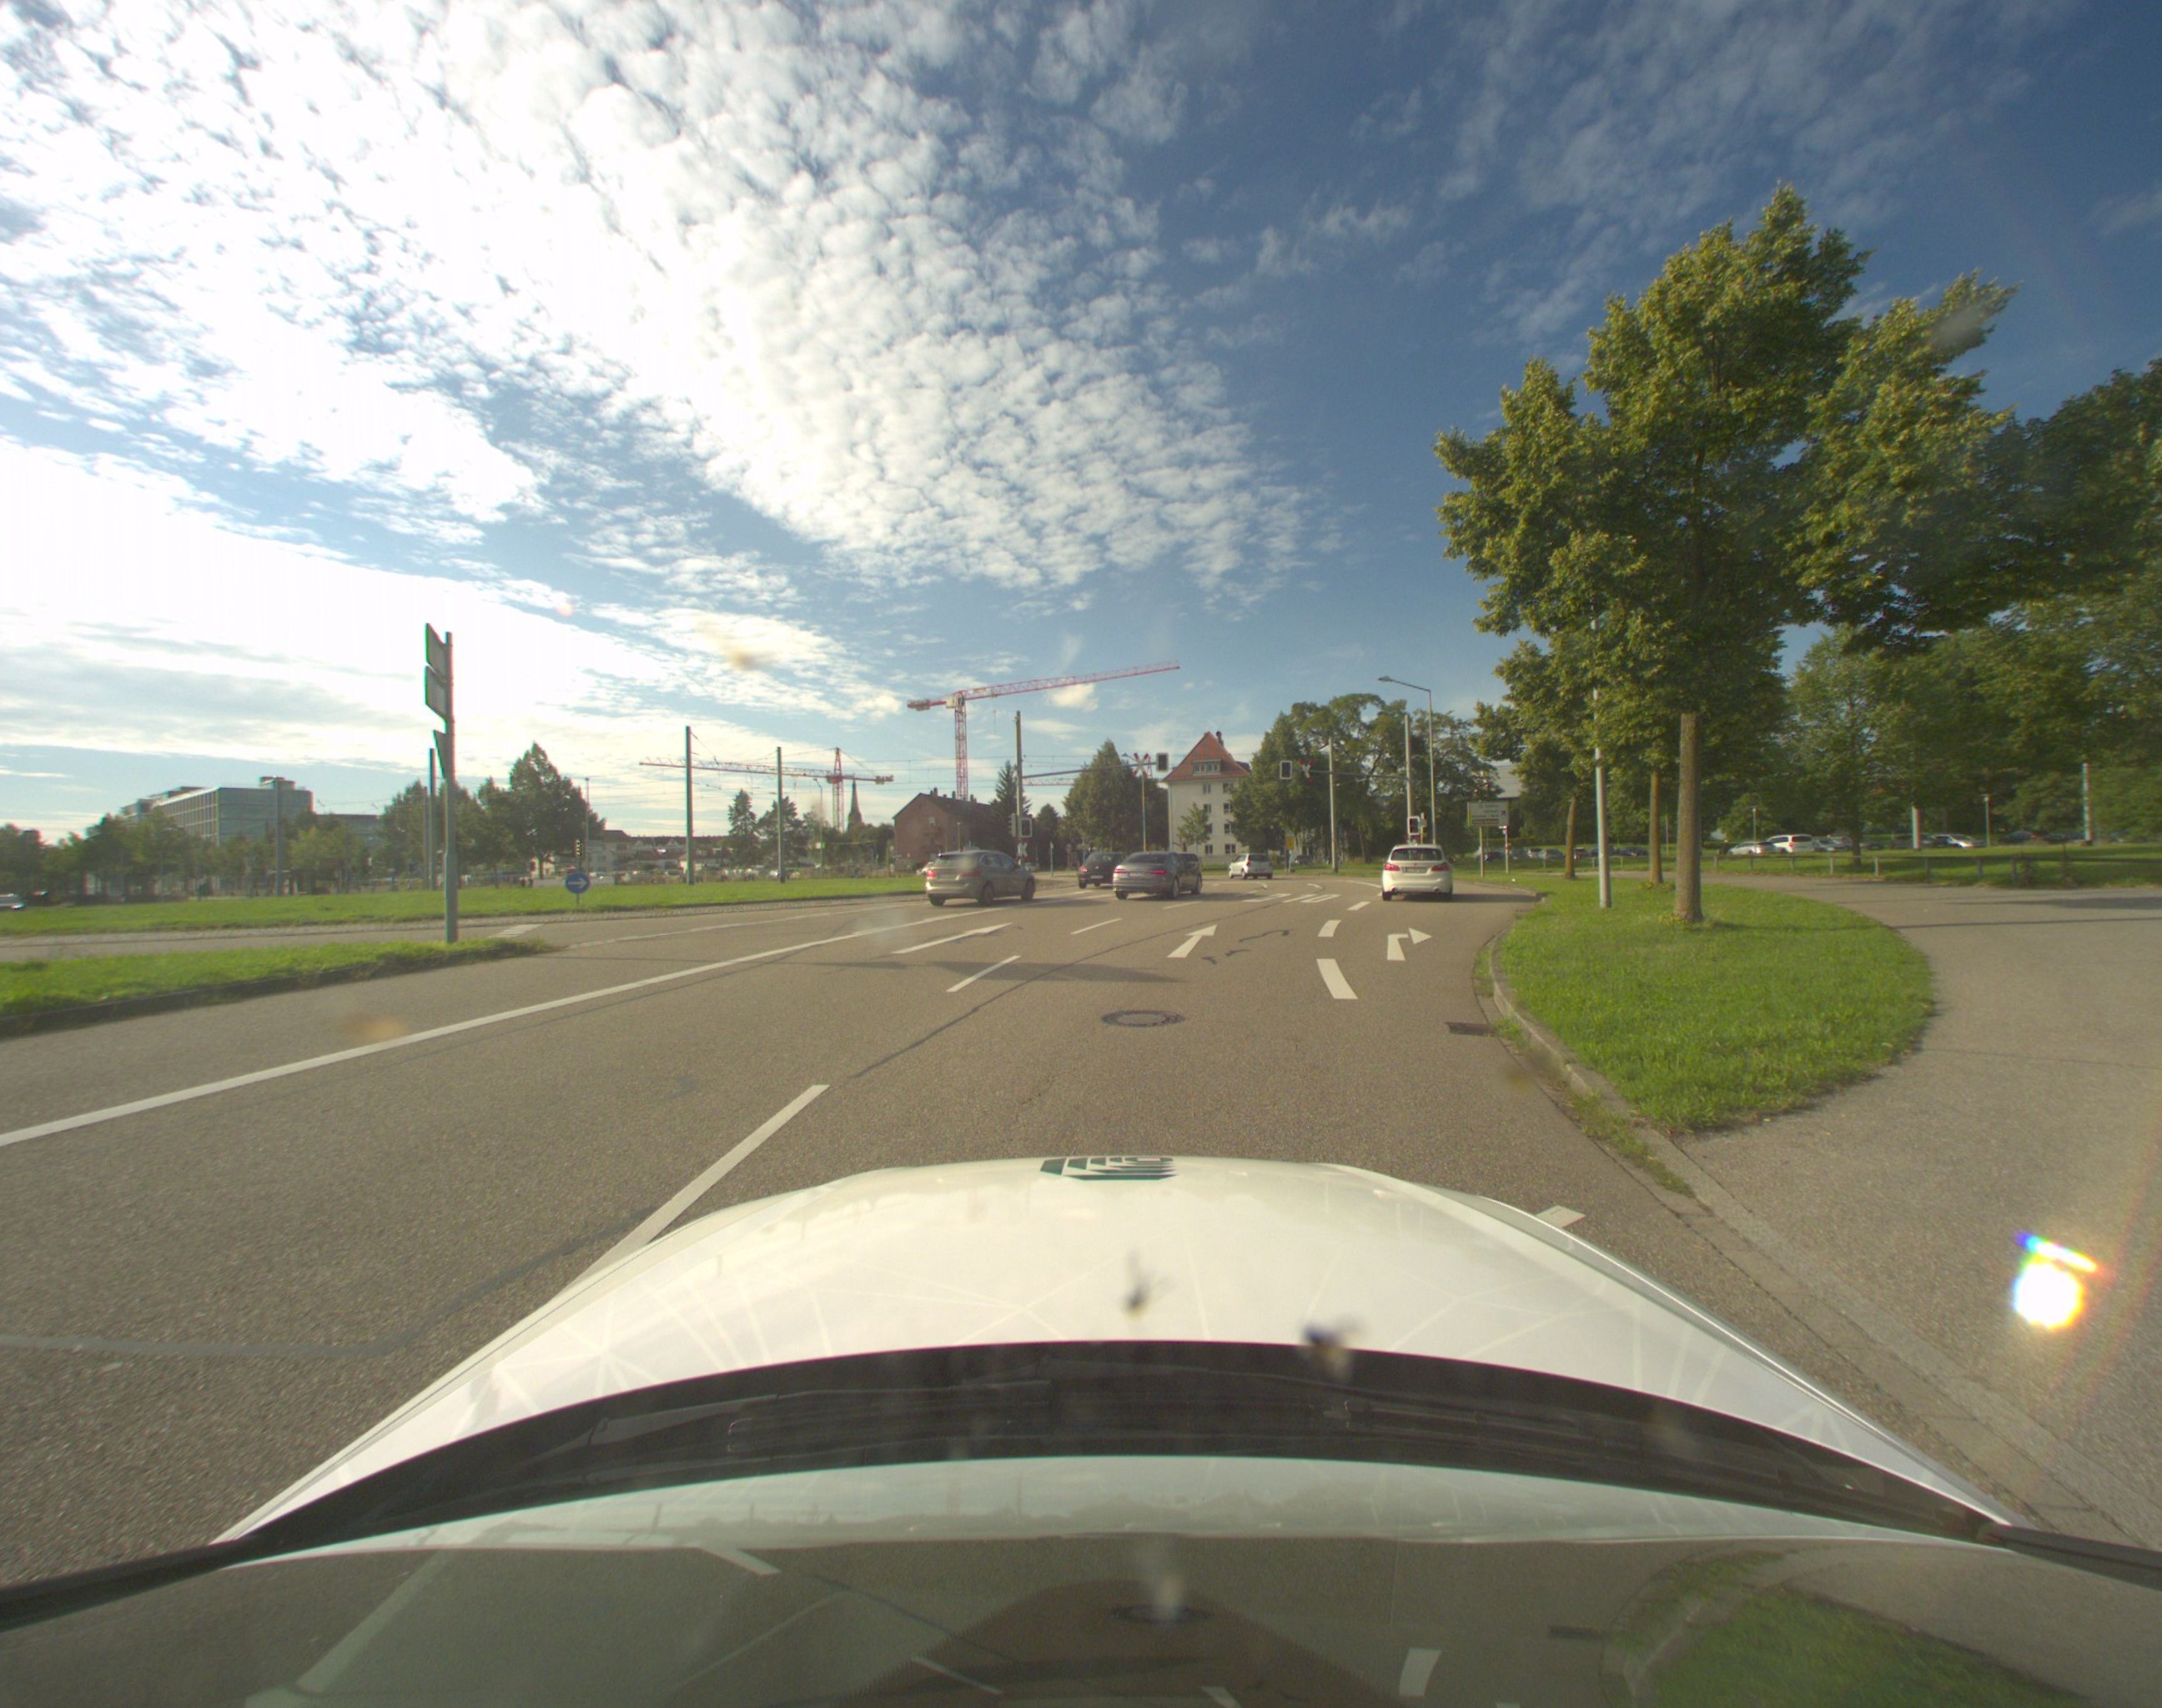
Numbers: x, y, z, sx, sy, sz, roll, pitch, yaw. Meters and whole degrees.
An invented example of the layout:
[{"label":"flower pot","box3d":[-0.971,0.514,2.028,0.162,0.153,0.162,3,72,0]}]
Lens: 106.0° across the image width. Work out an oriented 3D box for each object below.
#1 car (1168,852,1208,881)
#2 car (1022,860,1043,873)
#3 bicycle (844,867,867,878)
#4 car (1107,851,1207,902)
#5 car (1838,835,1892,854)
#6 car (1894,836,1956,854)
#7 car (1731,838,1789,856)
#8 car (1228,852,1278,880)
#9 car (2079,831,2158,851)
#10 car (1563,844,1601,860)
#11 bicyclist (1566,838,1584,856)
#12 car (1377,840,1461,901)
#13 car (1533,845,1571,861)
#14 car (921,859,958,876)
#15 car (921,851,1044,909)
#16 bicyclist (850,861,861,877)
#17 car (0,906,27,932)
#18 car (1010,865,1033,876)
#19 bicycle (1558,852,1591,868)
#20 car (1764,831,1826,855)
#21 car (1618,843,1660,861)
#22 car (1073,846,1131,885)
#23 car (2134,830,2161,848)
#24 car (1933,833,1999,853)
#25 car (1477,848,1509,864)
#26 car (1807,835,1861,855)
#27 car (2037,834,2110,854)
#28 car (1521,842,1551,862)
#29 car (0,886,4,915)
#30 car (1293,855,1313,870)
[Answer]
[{"label":"car","box3d":[5.900,0.702,45.394,1.843,1.478,4.458,-1,-1,3]},{"label":"car","box3d":[-7.594,1.966,127.916,1.882,1.903,4.679,-1,-1,15]},{"label":"bicycle","box3d":[-23.838,1.949,86.146,2.140,1.137,0.771,-3,0,-7]},{"label":"car","box3d":[2.545,0.646,25.985,1.834,1.445,4.740,-1,0,22]},{"label":"car","box3d":[68.643,-0.777,71.374,2.012,1.515,4.135,-2,-1,23]},{"label":"car","box3d":[72.926,-0.776,70.445,1.840,1.399,4.490,-2,-1,19]},{"label":"car","box3d":[60.802,-0.607,73.030,1.845,1.515,4.479,-2,-1,8]},{"label":"car","box3d":[9.613,0.676,45.856,1.845,1.426,4.453,-1,-1,0]},{"label":"car","box3d":[85.522,-1.027,67.238,1.838,1.541,4.490,-2,-1,19]},{"label":"car","box3d":[47.174,-0.161,76.733,1.841,1.363,4.487,-2,-1,15]},{"label":"bicyclist","box3d":[40.105,-0.574,66.069,1.004,1.355,0.710,-2,-1,-16]},{"label":"car","box3d":[9.784,0.464,23.376,1.833,1.572,4.481,-1,-1,27]},{"label":"car","box3d":[44.751,-0.079,77.478,1.841,1.358,4.853,-2,-1,15]},{"label":"car","box3d":[-16.393,1.596,94.609,1.878,1.903,4.688,-1,-1,26]},{"label":"car","box3d":[-2.788,0.727,24.039,1.752,1.572,4.089,-1,-1,23]},{"label":"bicyclist","box3d":[-23.861,1.596,86.149,0.956,1.575,0.771,-3,0,-6]},{"label":"car","box3d":[-67.434,4.092,50.965,3.942,1.501,1.697,-3,0,38]},{"label":"car","box3d":[-8.699,2.429,118.613,1.882,1.543,4.679,-1,-1,15]},{"label":"bicycle","box3d":[40.005,0.495,66.043,2.526,1.222,0.710,-2,-1,-17]},{"label":"car","box3d":[63.543,-0.926,72.640,2.291,2.007,5.137,-2,-1,18]},{"label":"car","box3d":[51.745,-0.183,75.637,1.841,1.515,4.487,-2,-1,15]},{"label":"car","box3d":[0.951,0.493,33.921,1.982,1.541,4.008,0,-1,7]},{"label":"car","box3d":[89.353,-1.243,66.560,1.838,1.454,4.490,-2,-1,19]},{"label":"car","box3d":[75.491,-0.902,69.557,1.840,1.504,4.490,-2,-1,19]},{"label":"car","box3d":[39.549,0.193,78.273,1.841,1.359,4.753,-2,-1,15]},{"label":"car","box3d":[66.558,-0.789,72.065,2.077,1.674,4.494,-2,-1,23]},{"label":"car","box3d":[83.145,-0.818,68.308,1.783,1.515,4.490,-2,-1,19]},{"label":"car","box3d":[49.368,-0.160,88.420,1.857,2.014,4.832,0,-1,17]},{"label":"car","box3d":[-84.606,3.644,62.039,2.078,2.263,5.949,-4,0,-44]},{"label":"car","box3d":[22.461,0.839,82.354,1.841,1.381,4.533,-2,-1,15]}]
